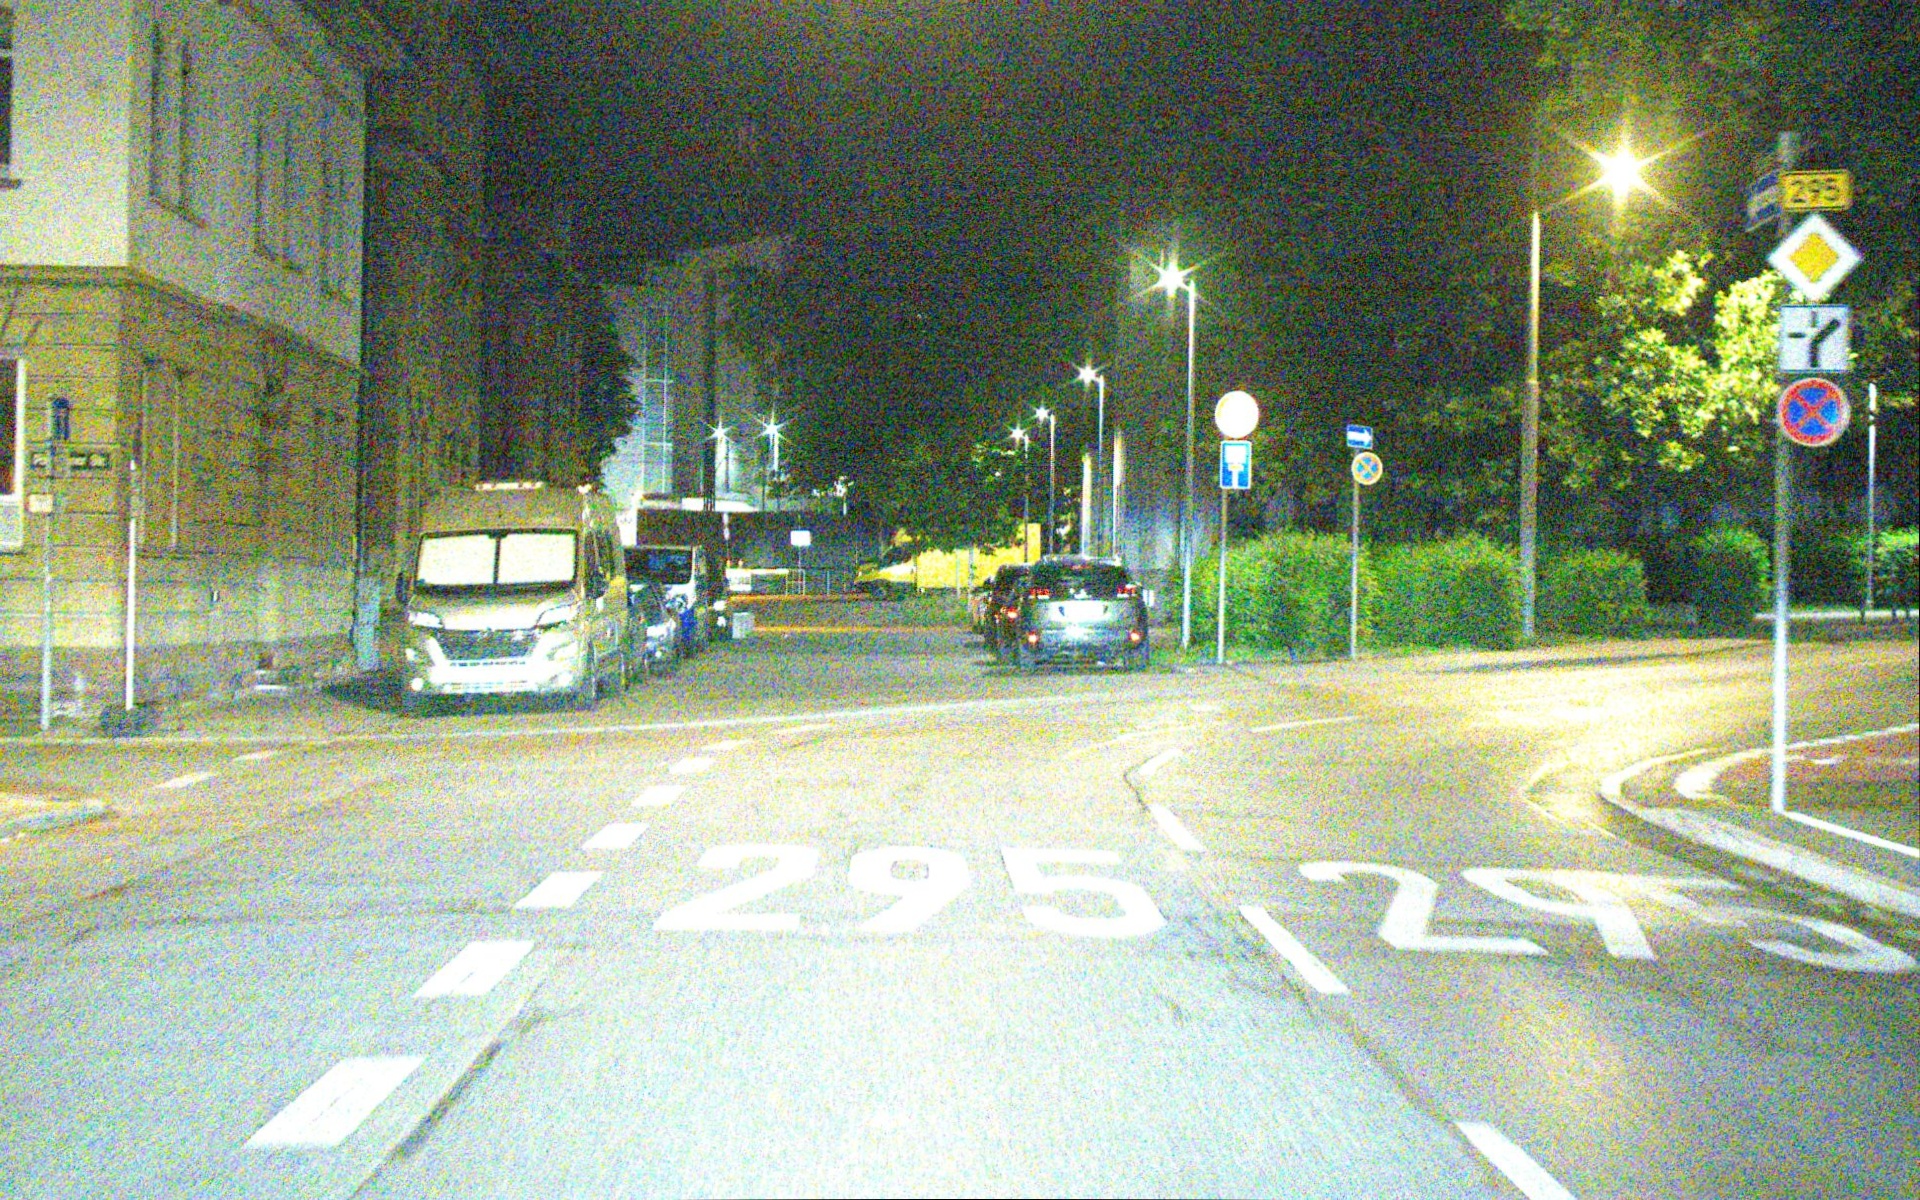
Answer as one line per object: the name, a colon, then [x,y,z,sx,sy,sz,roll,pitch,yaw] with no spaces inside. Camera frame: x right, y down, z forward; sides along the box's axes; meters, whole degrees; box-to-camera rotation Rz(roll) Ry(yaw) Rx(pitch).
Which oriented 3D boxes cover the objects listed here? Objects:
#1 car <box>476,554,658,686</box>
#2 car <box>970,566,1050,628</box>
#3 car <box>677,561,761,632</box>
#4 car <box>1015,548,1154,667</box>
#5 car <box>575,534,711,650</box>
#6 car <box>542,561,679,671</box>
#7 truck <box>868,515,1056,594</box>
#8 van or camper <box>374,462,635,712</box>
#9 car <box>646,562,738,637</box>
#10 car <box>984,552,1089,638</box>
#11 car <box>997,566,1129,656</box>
car: [-5.022,0.229,44.474,1.892,1.585,4.374,-1,1,-1]
car: [1.191,-0.093,83.597,1.758,1.440,4.026,0,1,-2]
car: [-5.468,-0.082,78.345,1.677,1.561,4.105,0,0,-1]
car: [1.758,0.089,49.495,1.884,1.597,4.107,-1,0,1]
car: [-5.491,-0.161,60.076,1.993,1.948,4.806,0,0,-1]
car: [-5.116,0.198,49.904,1.838,1.502,4.743,-1,0,-7]
truck: [0.051,-1.680,127.015,6.775,2.835,2.000,1,1,-3]
van or camper: [-5.041,-0.157,38.923,2.158,2.527,6.227,-2,0,-1]
car: [-5.623,-0.014,72.397,1.704,1.505,4.100,1,0,-2]
car: [1.579,-0.119,72.607,2.040,1.688,4.882,-2,0,0]
car: [1.598,0.168,54.734,1.963,1.378,4.000,0,0,0]
